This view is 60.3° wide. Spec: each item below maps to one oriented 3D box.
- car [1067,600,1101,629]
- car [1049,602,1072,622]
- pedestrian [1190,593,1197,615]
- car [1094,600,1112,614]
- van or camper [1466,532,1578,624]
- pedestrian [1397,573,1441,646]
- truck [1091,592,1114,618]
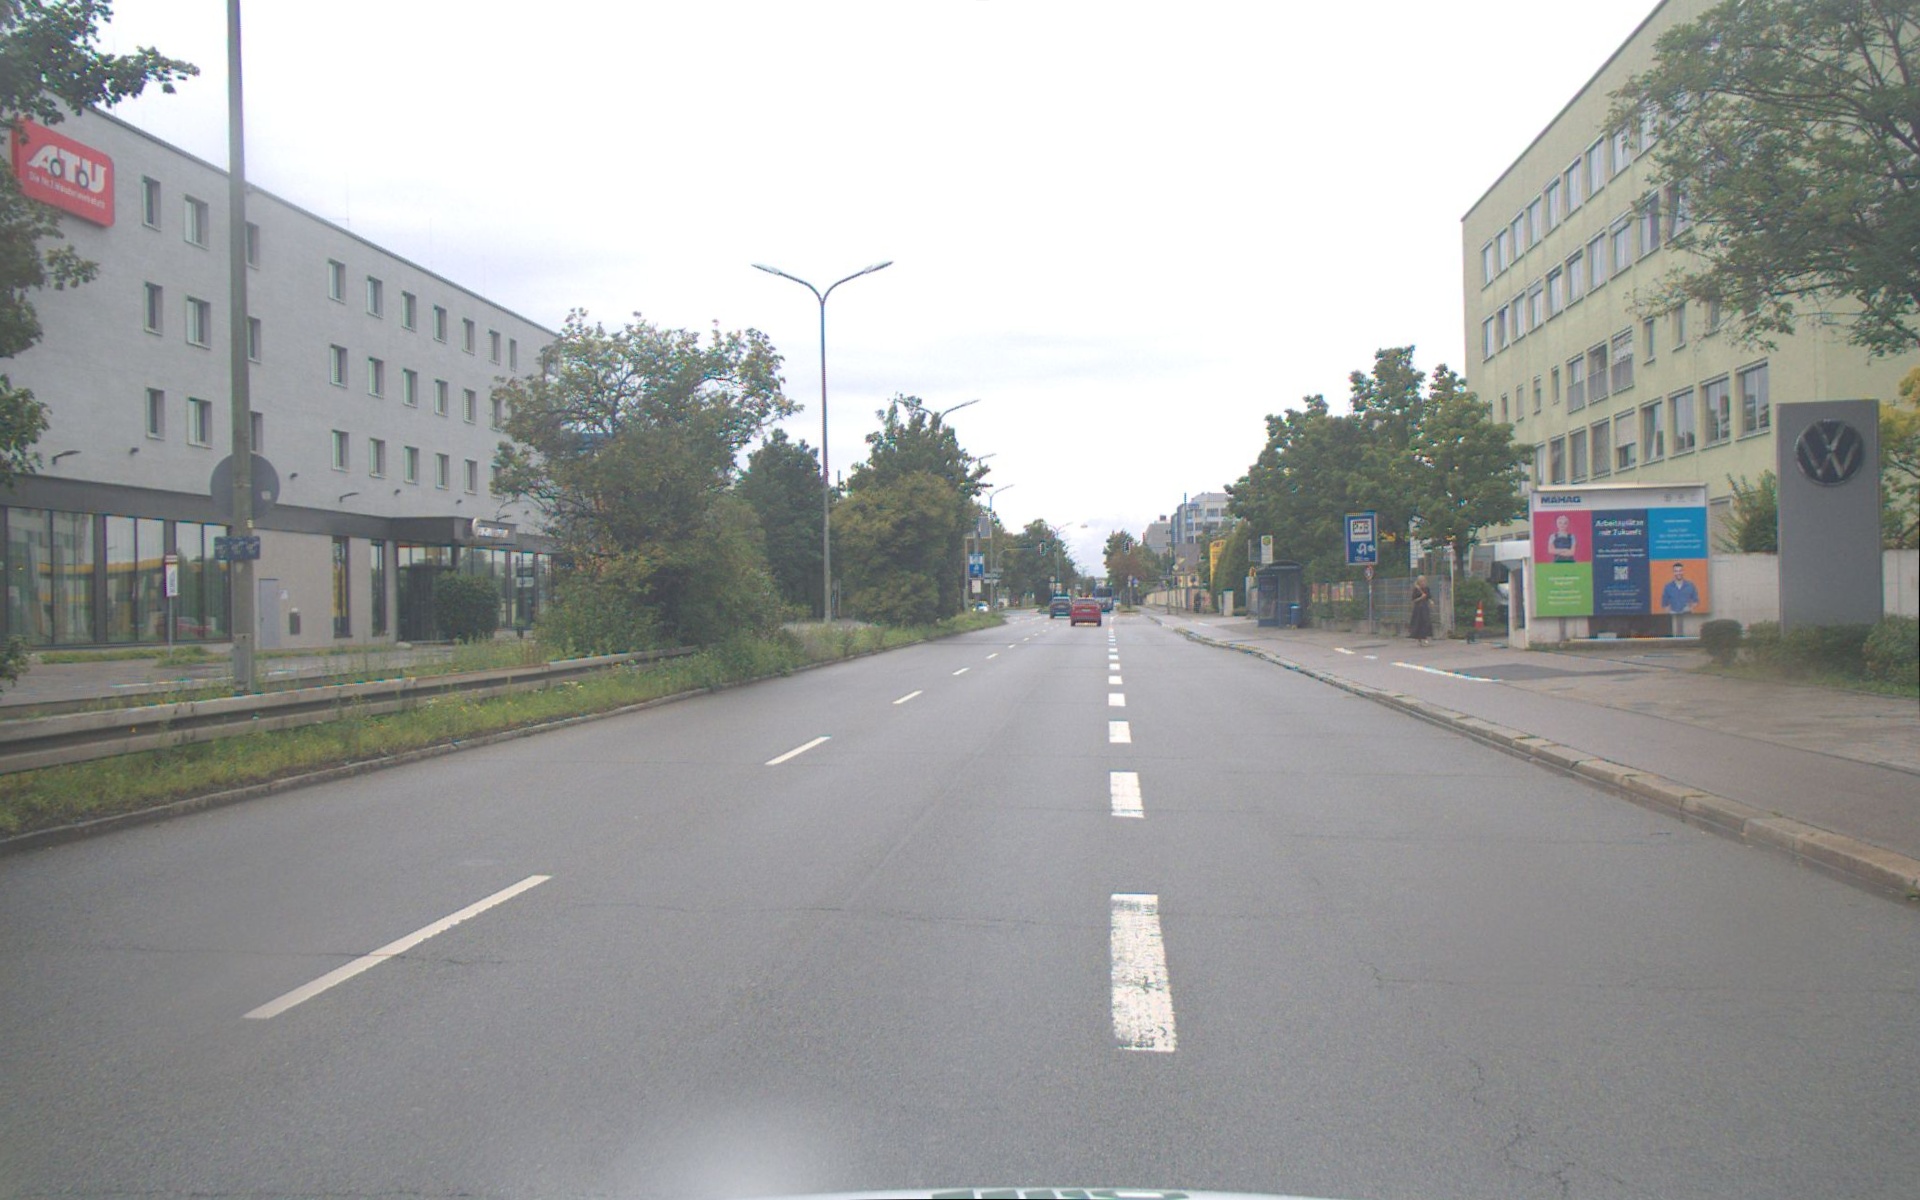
[{"bbox_3d":[7.183,0.864,96.234,1.823,1.646,4.001,-1,-1,3],"label":"car"},{"bbox_3d":[7.881,0.929,129.940,1.765,1.458,4.002,-1,0,3],"label":"car"},{"bbox_3d":[18.314,0.308,129.846,0.473,1.664,0.591,-1,0,5],"label":"pedestrian"},{"bbox_3d":[15.543,0.800,180.062,1.765,1.458,4.002,-1,0,3],"label":"car"},{"bbox_3d":[16.805,-0.616,49.867,2.079,2.540,7.395,-1,0,10],"label":"van or camper"},{"bbox_3d":[11.490,0.228,41.395,0.742,1.758,0.895,-5,0,3],"label":"pedestrian"},{"bbox_3d":[19.407,0.691,225.182,2.907,3.343,7.919,-1,0,3],"label":"truck"}]
